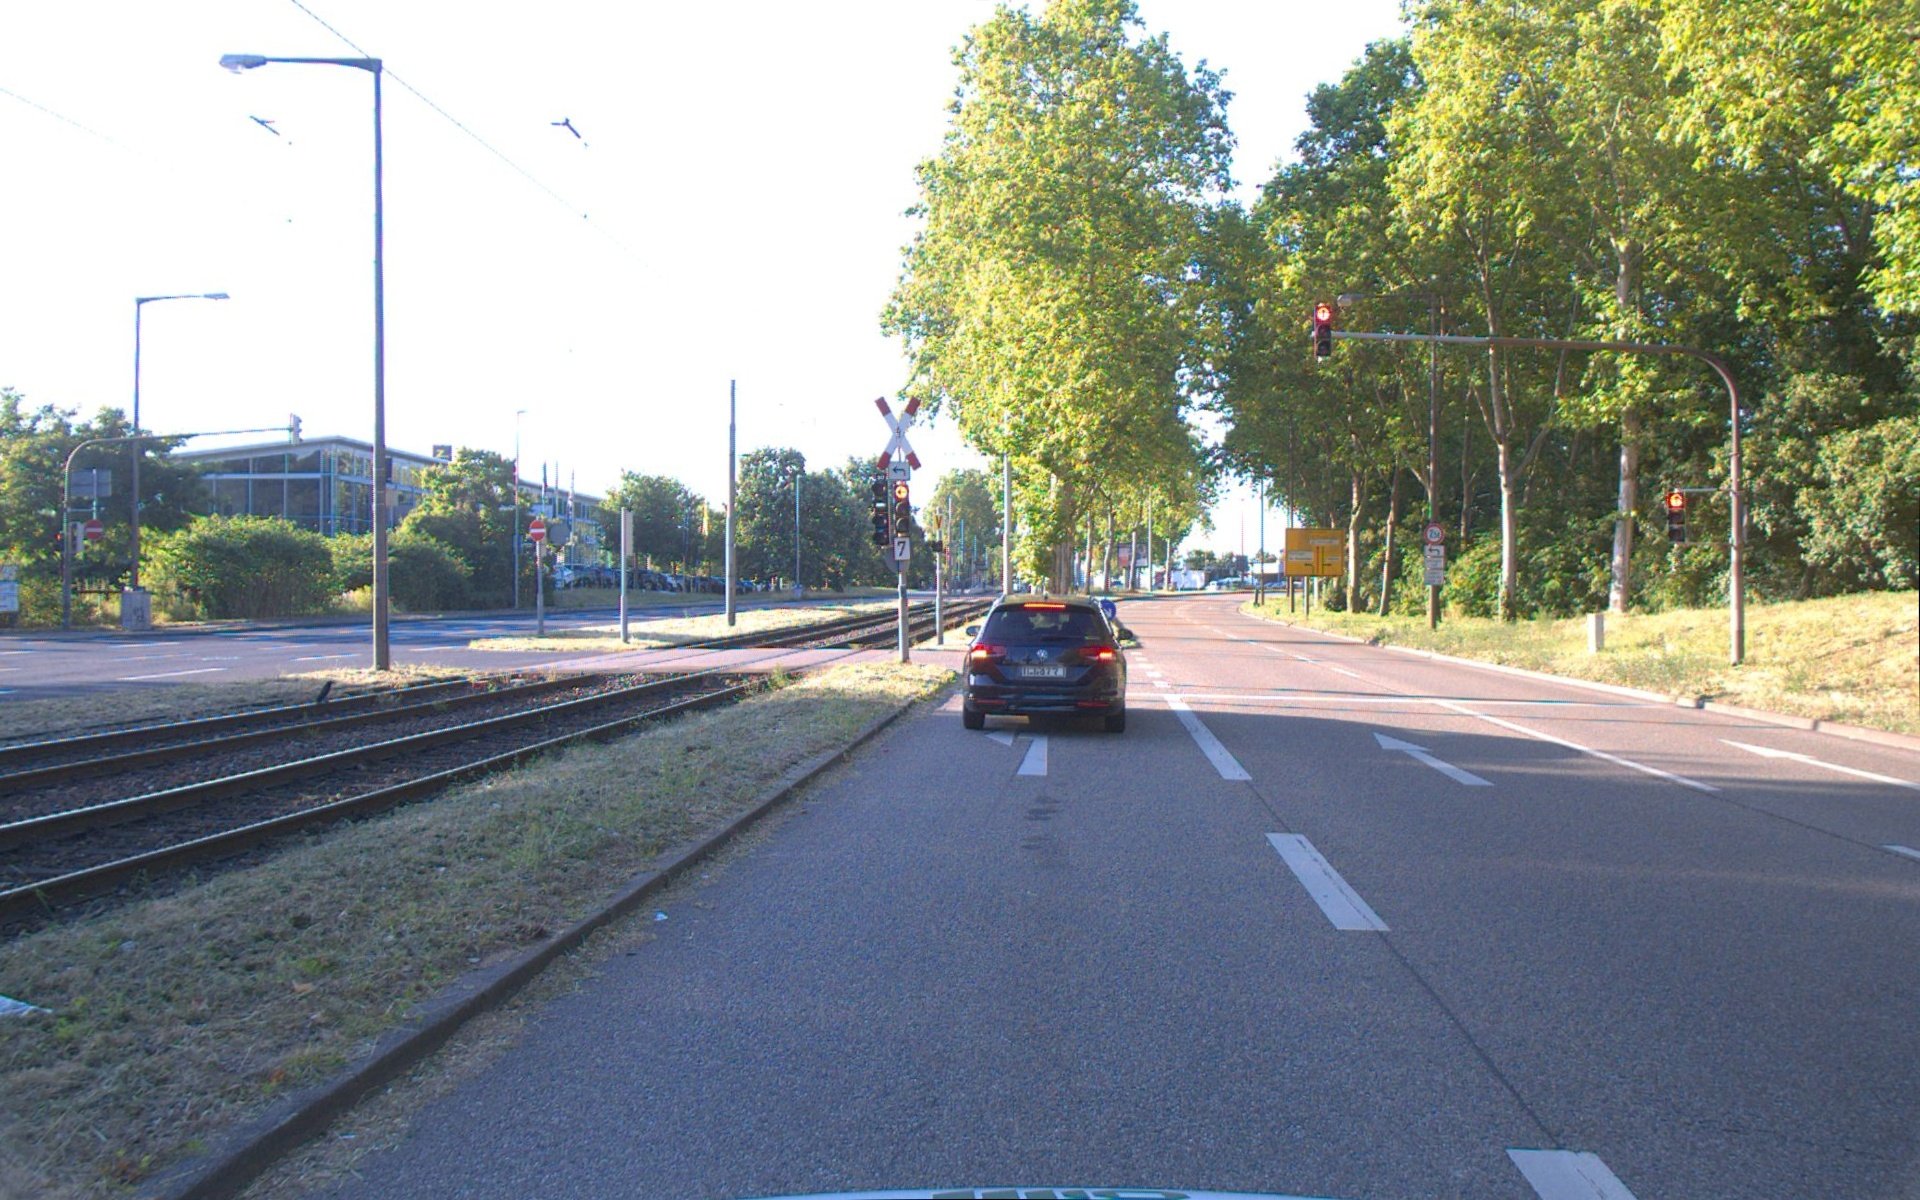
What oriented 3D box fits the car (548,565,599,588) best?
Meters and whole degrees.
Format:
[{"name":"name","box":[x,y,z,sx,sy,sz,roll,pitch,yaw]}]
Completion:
[{"name":"car","box":[-26.196,-1.614,112.215,3.077,1.516,1.456,1,0,1]}]

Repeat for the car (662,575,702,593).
[{"name":"car","box":[-23.476,-1.333,139.518,3.077,1.516,1.456,1,0,1]}]

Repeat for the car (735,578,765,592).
[{"name":"car","box":[-23.064,-1.615,181.845,3.077,1.516,1.456,1,0,1]}]

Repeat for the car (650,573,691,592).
[{"name":"car","box":[-23.846,-1.407,136.155,3.077,1.516,1.456,1,0,1]}]

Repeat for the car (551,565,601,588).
[{"name":"car","box":[-26.594,-1.641,114.681,3.077,1.516,1.456,1,0,1]}]

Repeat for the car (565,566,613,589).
[{"name":"car","box":[-26.384,-1.597,117.676,3.077,1.516,1.456,1,0,1]}]

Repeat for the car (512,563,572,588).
[{"name":"car","box":[-24.411,-1.434,96.655,3.077,1.416,1.456,1,0,1]}]

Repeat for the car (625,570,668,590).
[{"name":"car","box":[-25.222,-1.613,133.119,3.077,1.516,1.456,1,0,1]}]

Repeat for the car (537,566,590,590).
[{"name":"car","box":[-25.938,-1.453,108.352,3.077,1.516,1.456,1,0,1]}]

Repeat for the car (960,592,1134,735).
[{"name":"car","box":[1.056,0.641,18.731,1.754,1.427,3.691,1,0,5]}]
